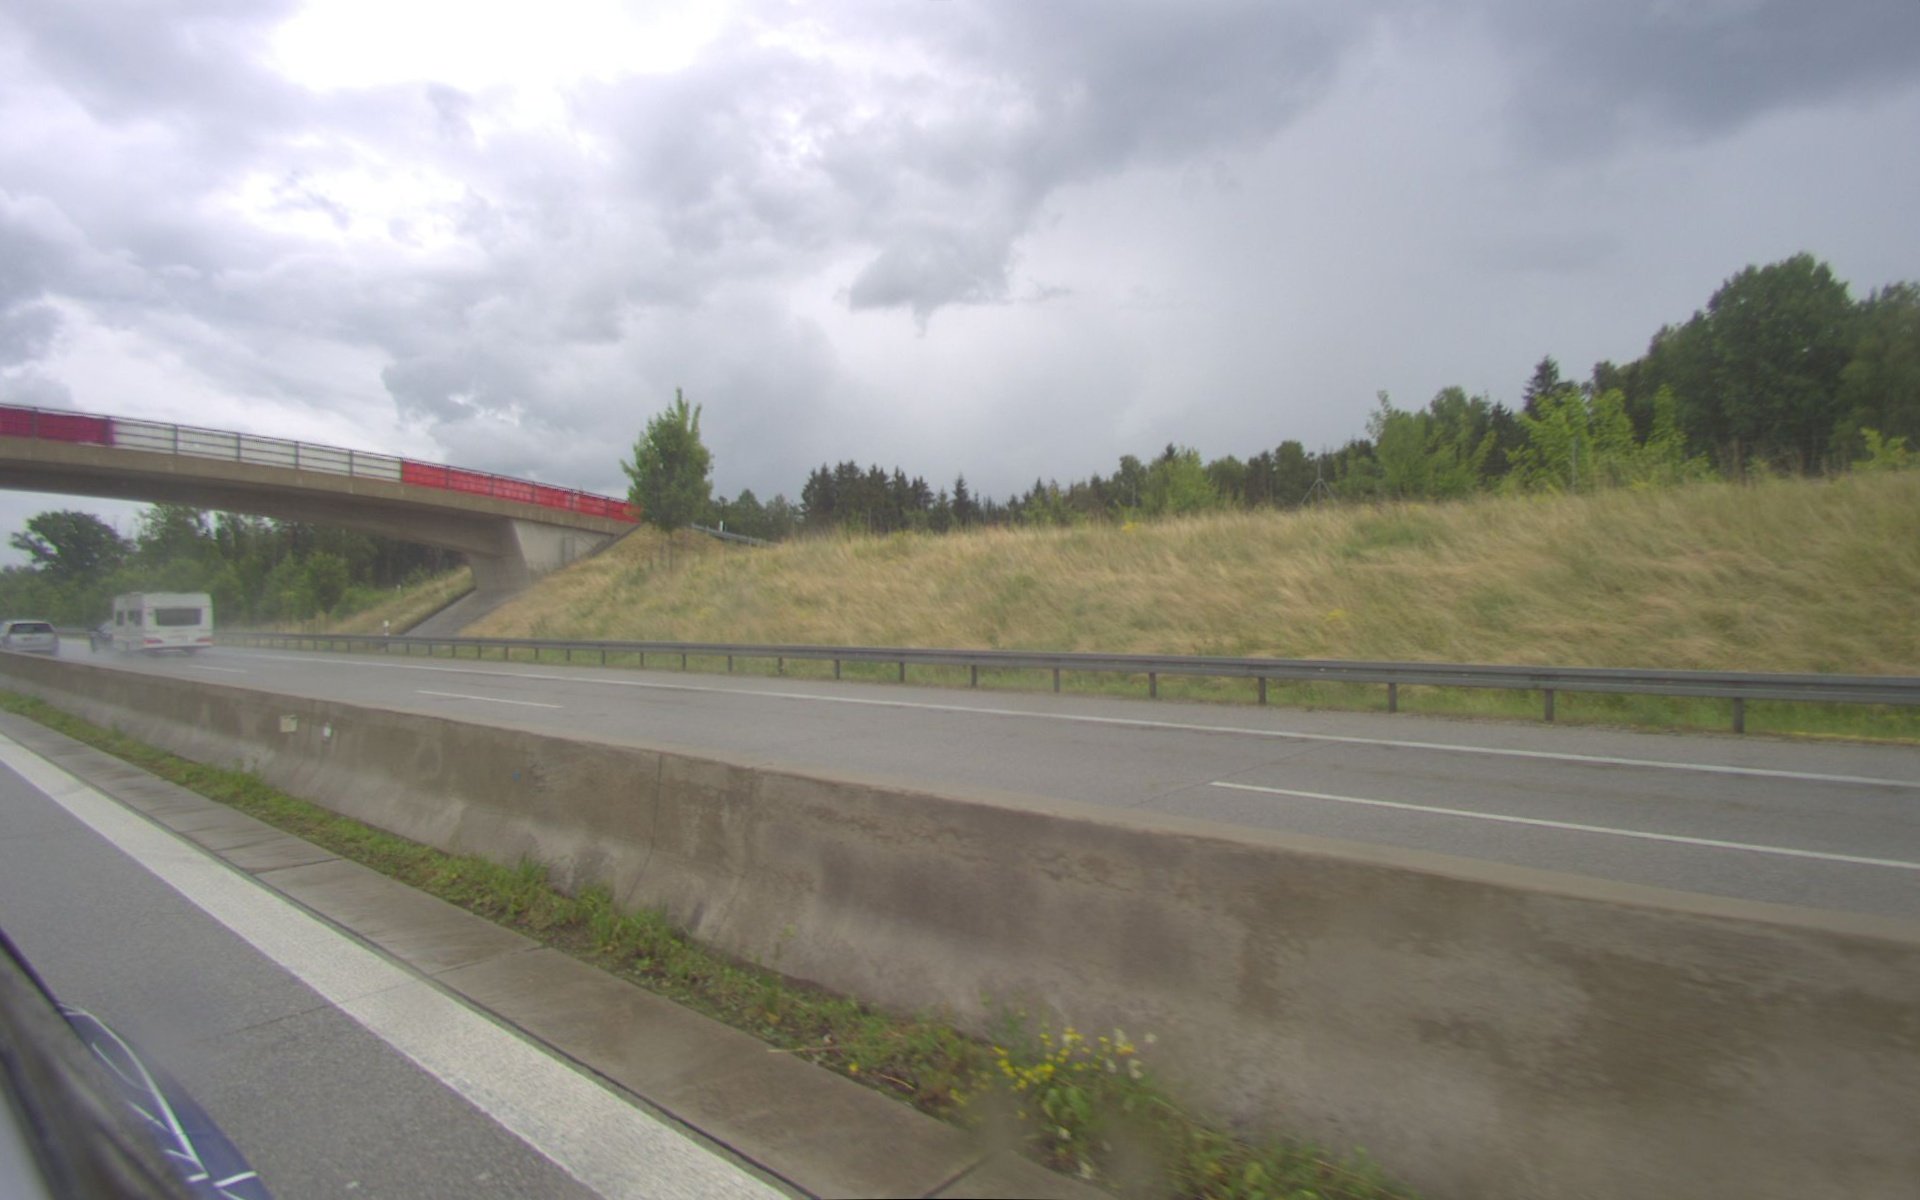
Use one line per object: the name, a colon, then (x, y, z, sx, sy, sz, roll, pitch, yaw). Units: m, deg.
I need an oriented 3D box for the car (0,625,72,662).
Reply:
car: (-35.923, 1.640, 39.003, 4.508, 1.321, 1.973, -2, -2, 41)

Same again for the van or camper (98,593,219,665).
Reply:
van or camper: (-33.193, 1.241, 41.768, 7.922, 2.615, 2.419, -4, -1, 41)
